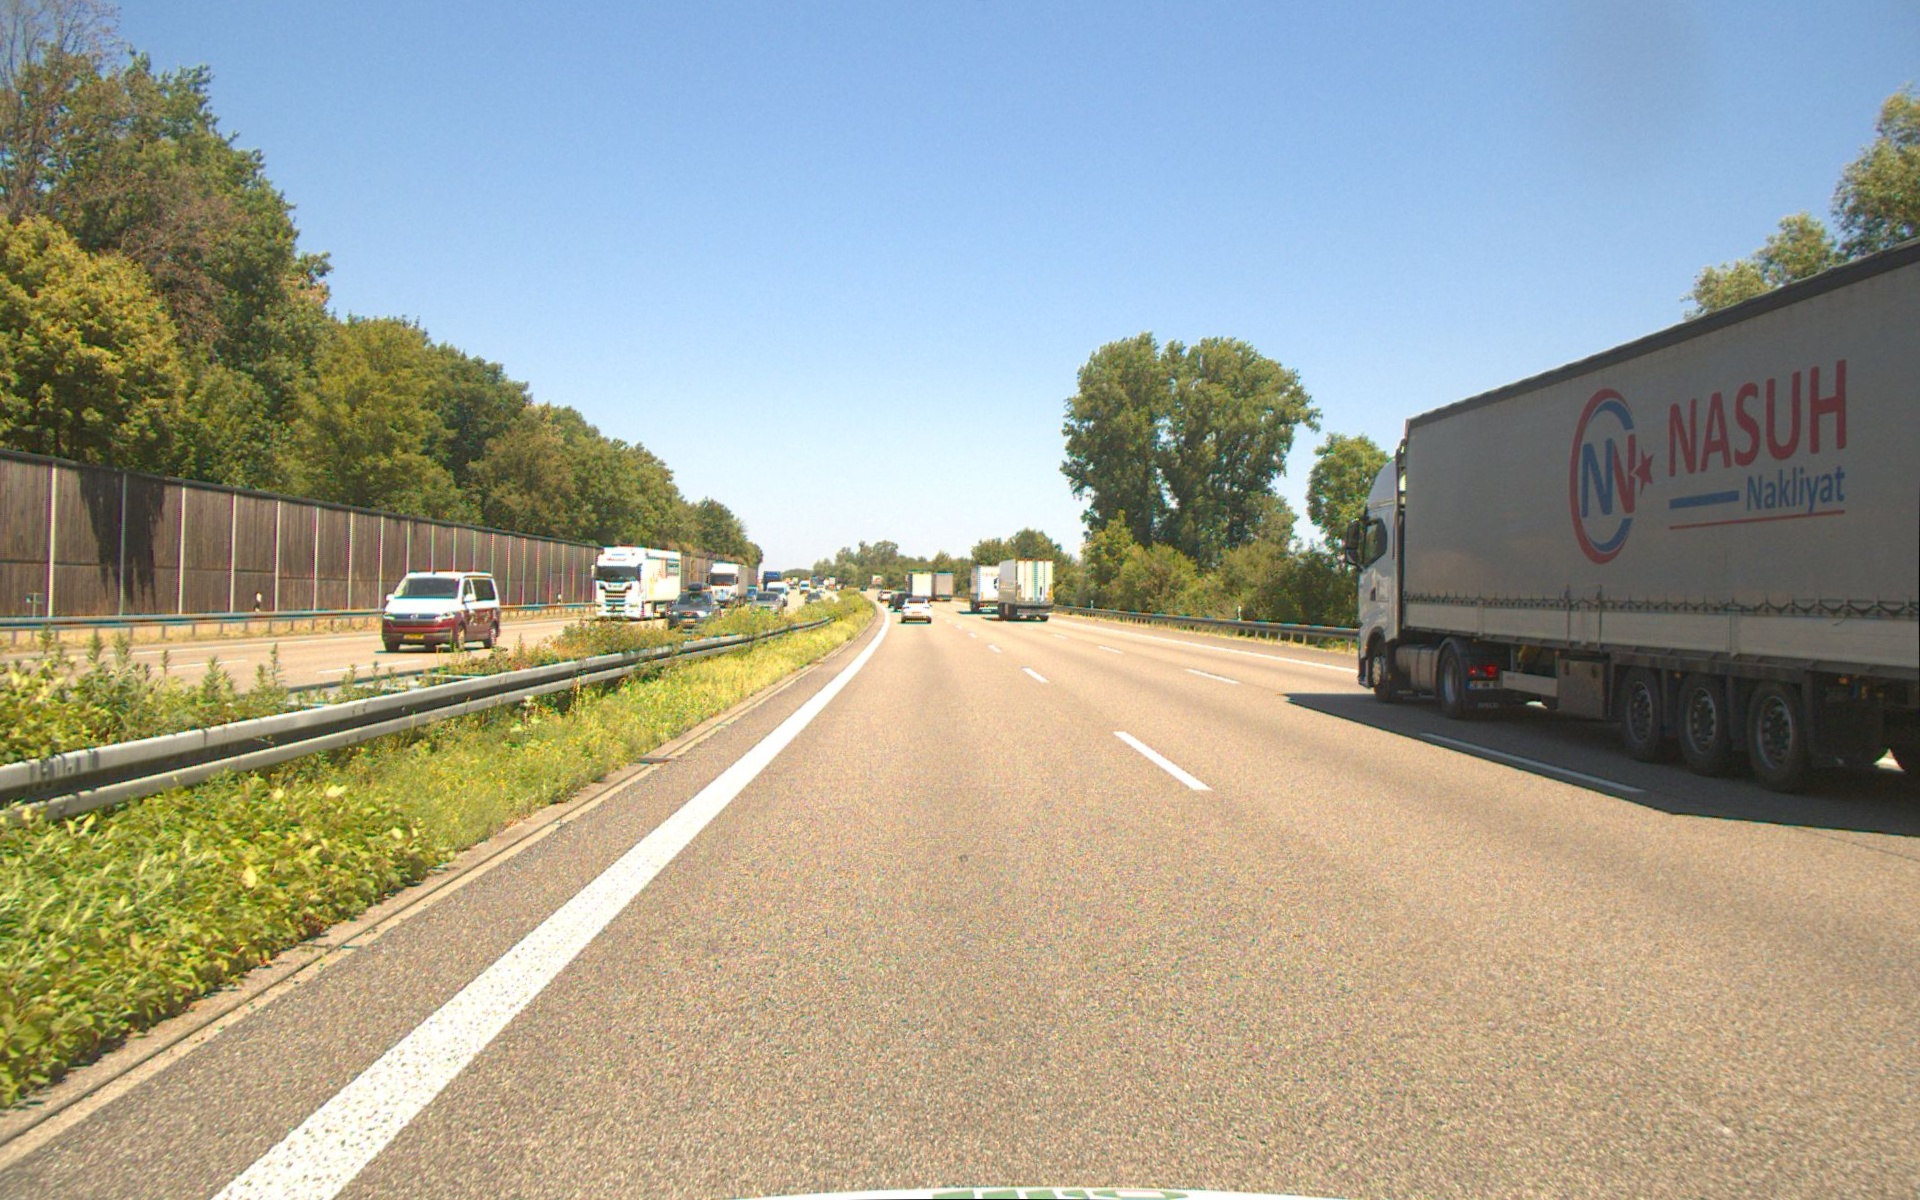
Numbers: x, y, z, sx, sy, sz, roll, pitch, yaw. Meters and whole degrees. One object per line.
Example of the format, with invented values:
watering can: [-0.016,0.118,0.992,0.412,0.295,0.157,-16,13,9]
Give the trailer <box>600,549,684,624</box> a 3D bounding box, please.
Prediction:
trailer: [-18.952,-0.741,99.639,2.699,4.146,14.383,1,0,-2]

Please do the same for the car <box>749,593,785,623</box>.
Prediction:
car: [-11.398,0.461,97.950,1.730,1.680,4.037,0,0,-2]

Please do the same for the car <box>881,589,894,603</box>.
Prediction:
car: [-9.871,-0.580,224.022,1.689,1.814,3.998,1,0,-2]

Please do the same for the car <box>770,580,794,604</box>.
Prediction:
car: [-18.527,-0.850,172.368,2.039,2.443,6.039,1,0,-3]

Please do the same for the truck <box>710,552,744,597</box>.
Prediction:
truck: [-21.887,-2.361,155.802,2.451,4.126,6.360,1,0,-2]

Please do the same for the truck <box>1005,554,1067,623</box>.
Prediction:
truck: [5.051,-0.742,112.013,3.421,4.386,10.985,1,0,-1]

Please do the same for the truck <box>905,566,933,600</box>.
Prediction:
truck: [-5.569,-2.196,223.450,3.508,4.386,12.183,1,0,-3]

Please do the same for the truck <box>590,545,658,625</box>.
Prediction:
truck: [-18.708,-0.814,92.345,2.675,4.266,6.034,1,0,-2]

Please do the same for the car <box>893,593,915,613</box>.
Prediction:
car: [-5.123,0.231,150.844,1.953,1.803,3.999,1,0,-1]

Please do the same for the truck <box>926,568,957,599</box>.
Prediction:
truck: [-2.832,-2.425,245.045,3.755,4.386,11.542,1,0,-5]

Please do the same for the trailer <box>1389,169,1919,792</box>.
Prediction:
trailer: [7.850,-0.804,17.732,2.571,4.335,14.057,1,0,-1]

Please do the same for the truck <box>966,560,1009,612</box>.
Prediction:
truck: [2.333,-1.193,145.435,3.292,4.386,10.825,1,0,-1]

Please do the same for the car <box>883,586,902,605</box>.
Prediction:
car: [-7.307,-0.496,178.864,1.953,2.049,3.998,1,0,-2]

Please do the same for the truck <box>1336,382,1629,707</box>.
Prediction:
truck: [7.687,-0.735,25.074,2.553,4.362,5.433,1,0,-2]

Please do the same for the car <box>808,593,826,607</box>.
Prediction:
car: [-15.311,-0.009,176.749,1.725,1.453,3.933,1,0,-2]

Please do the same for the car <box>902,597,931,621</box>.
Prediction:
car: [-2.598,0.549,98.554,1.680,1.393,3.374,1,0,-1]

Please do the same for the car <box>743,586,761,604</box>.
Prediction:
car: [-24.628,-0.587,195.949,1.765,2.049,3.998,1,0,-3]

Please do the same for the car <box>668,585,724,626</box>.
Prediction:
car: [-10.502,0.199,66.045,1.678,1.570,4.359,0,0,-2]

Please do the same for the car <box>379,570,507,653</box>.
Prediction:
car: [-13.195,0.280,42.501,1.887,1.979,4.608,1,0,-1]
